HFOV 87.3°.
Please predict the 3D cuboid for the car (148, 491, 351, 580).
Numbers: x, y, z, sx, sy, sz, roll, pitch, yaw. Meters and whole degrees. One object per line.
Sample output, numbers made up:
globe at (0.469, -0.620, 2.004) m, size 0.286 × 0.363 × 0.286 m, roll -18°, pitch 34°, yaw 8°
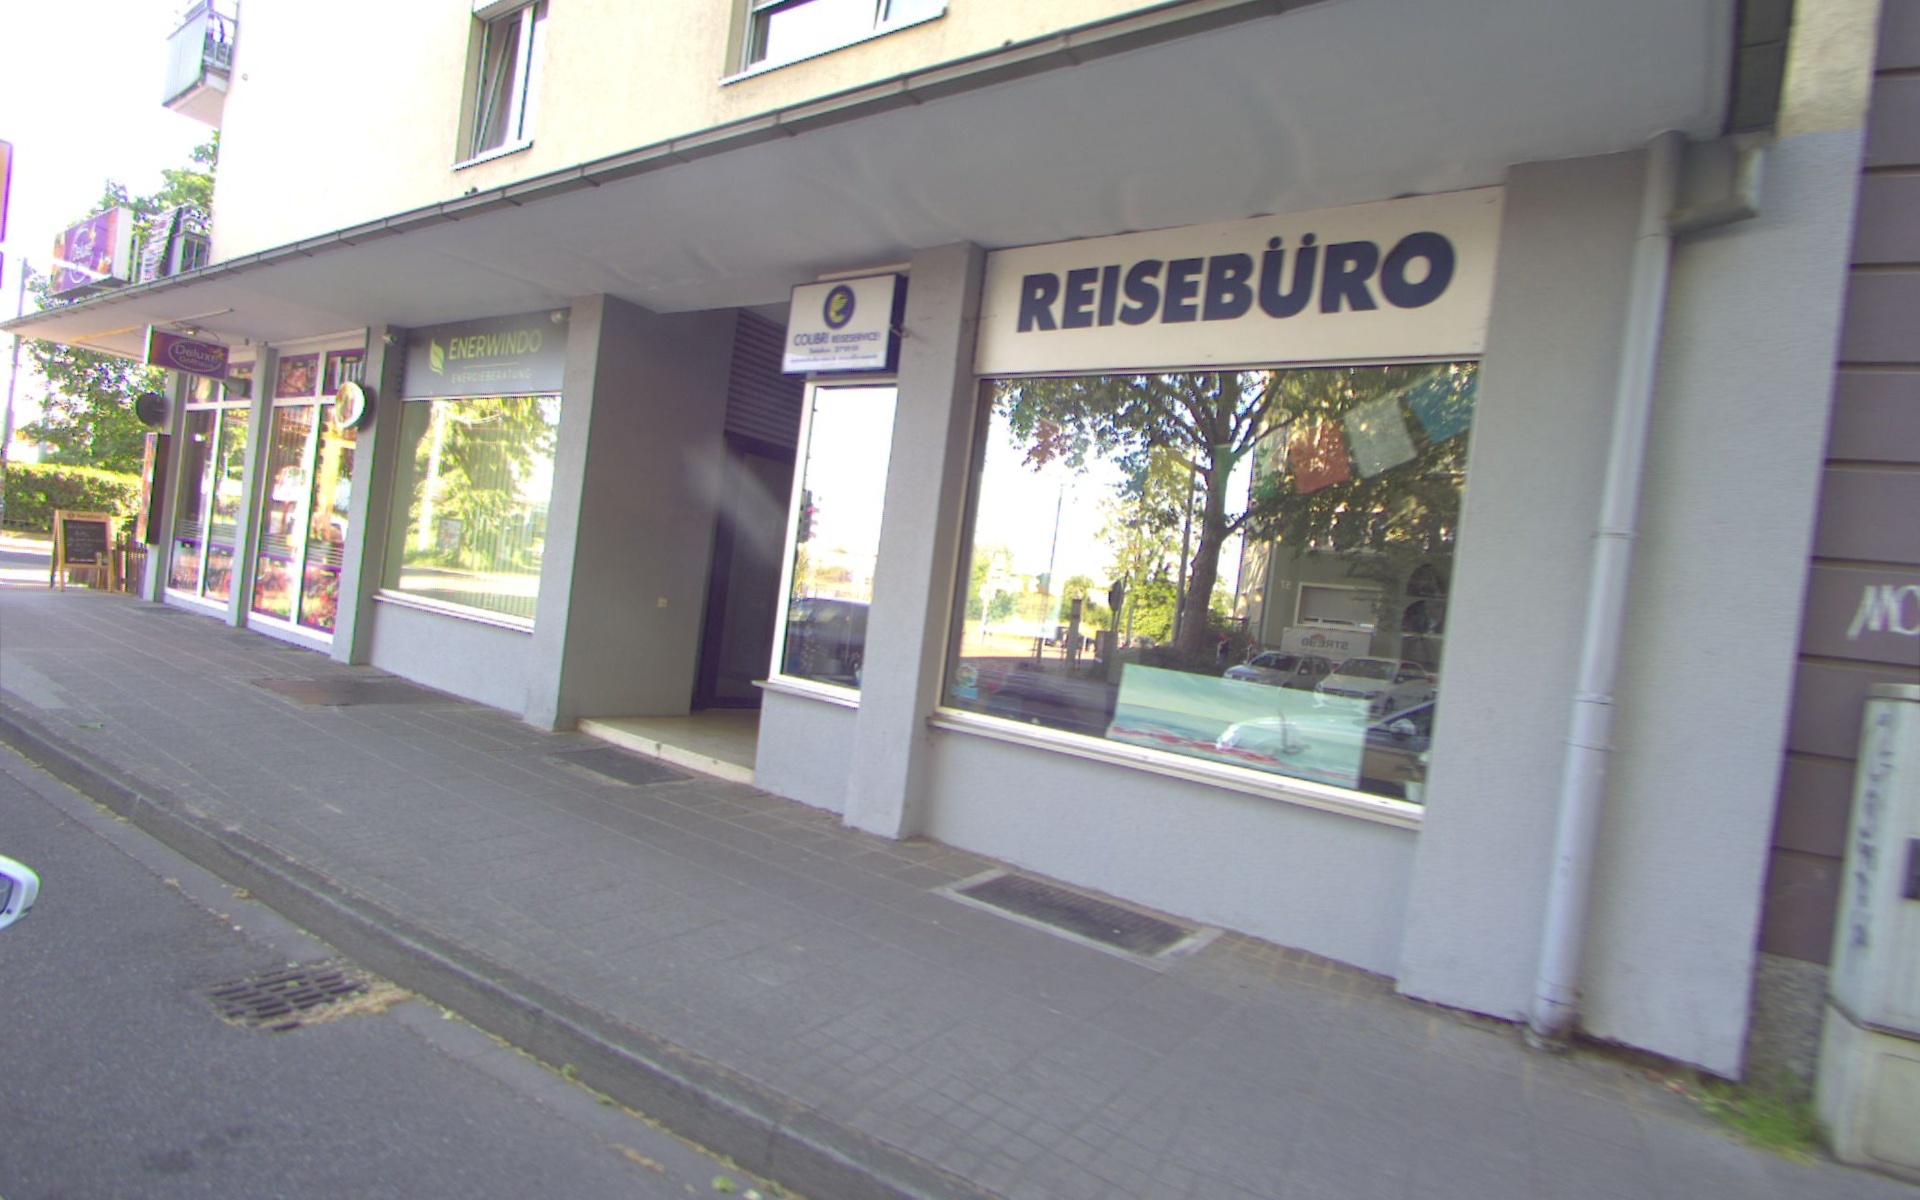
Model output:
car at (-19.551, -1.708, 27.827) m, size 1.781 × 1.835 × 4.172 m, roll 3°, pitch -3°, yaw 39°
